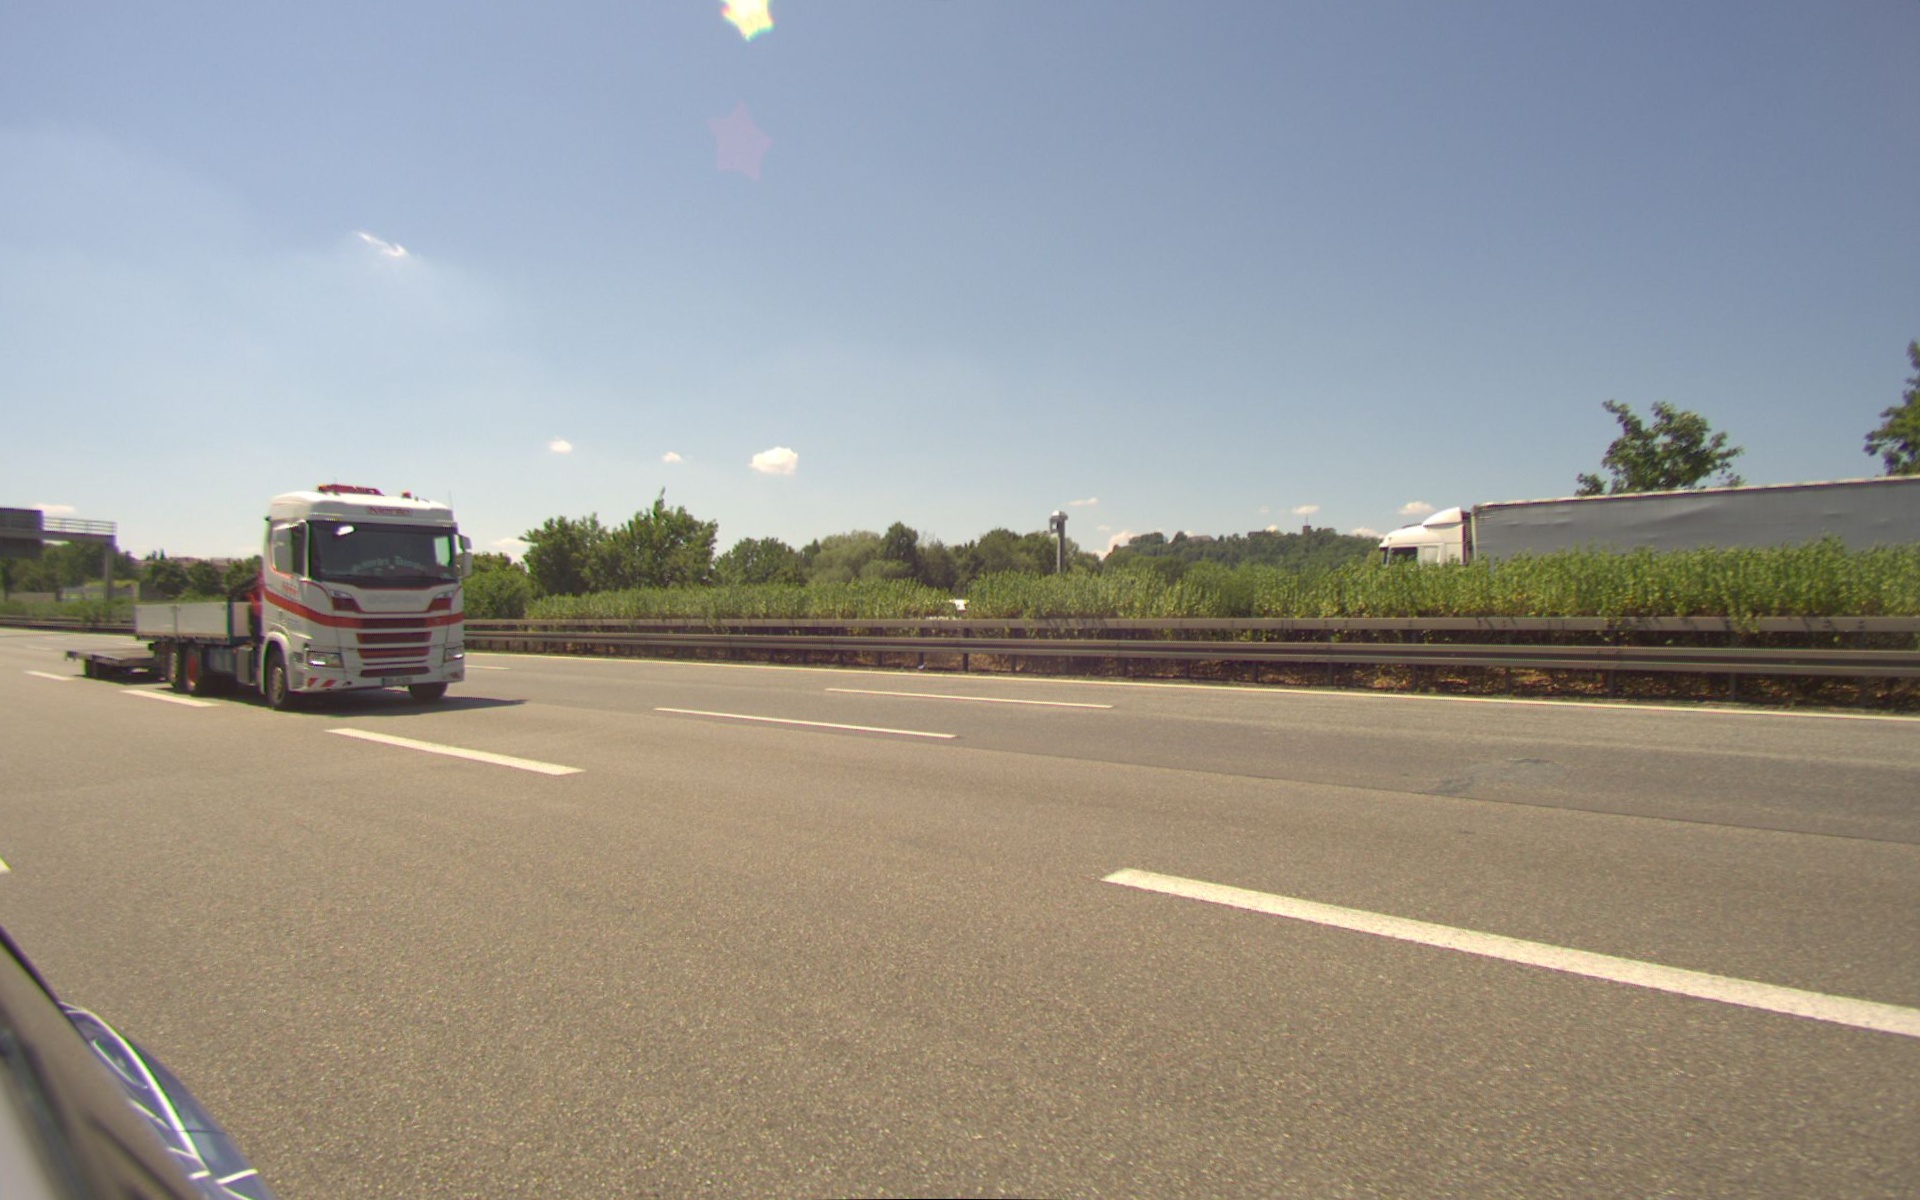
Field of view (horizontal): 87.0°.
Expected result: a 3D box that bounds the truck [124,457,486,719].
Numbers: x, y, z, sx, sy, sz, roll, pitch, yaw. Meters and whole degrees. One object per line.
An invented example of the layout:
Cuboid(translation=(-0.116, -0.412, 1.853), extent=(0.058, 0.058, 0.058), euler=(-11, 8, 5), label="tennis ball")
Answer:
Cuboid(translation=(-12.851, -0.060, 19.205), extent=(10.661, 3.831, 2.687), euler=(-2, -1, 40), label="truck")

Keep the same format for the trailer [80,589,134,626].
Cuboid(translation=(-95.939, 0.876, 113.726), extent=(8.645, 3.997, 2.895), euler=(-1, -1, 38), label="trailer")

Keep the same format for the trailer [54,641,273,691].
Cuboid(translation=(-19.865, 1.552, 25.044), extent=(7.752, 0.941, 2.687), euler=(-2, -1, 40), label="trailer")

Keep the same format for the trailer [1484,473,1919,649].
Cuboid(translation=(20.892, -0.842, 25.177), extent=(13.711, 3.977, 2.512), euler=(-2, -1, 40), label="trailer")

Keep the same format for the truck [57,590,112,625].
Cuboid(translation=(-103.455, 0.933, 119.549), extent=(10.306, 3.997, 2.973), euler=(-1, -1, 38), label="truck")

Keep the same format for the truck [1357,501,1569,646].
Cuboid(translation=(14.958, -0.671, 30.267), extent=(5.164, 3.977, 2.512), euler=(-2, -1, 41), label="truck")

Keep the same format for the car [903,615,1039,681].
Cuboid(translation=(0.301, 1.464, 32.114), extent=(3.999, 1.842, 1.973), euler=(1, 0, 41), label="car")
